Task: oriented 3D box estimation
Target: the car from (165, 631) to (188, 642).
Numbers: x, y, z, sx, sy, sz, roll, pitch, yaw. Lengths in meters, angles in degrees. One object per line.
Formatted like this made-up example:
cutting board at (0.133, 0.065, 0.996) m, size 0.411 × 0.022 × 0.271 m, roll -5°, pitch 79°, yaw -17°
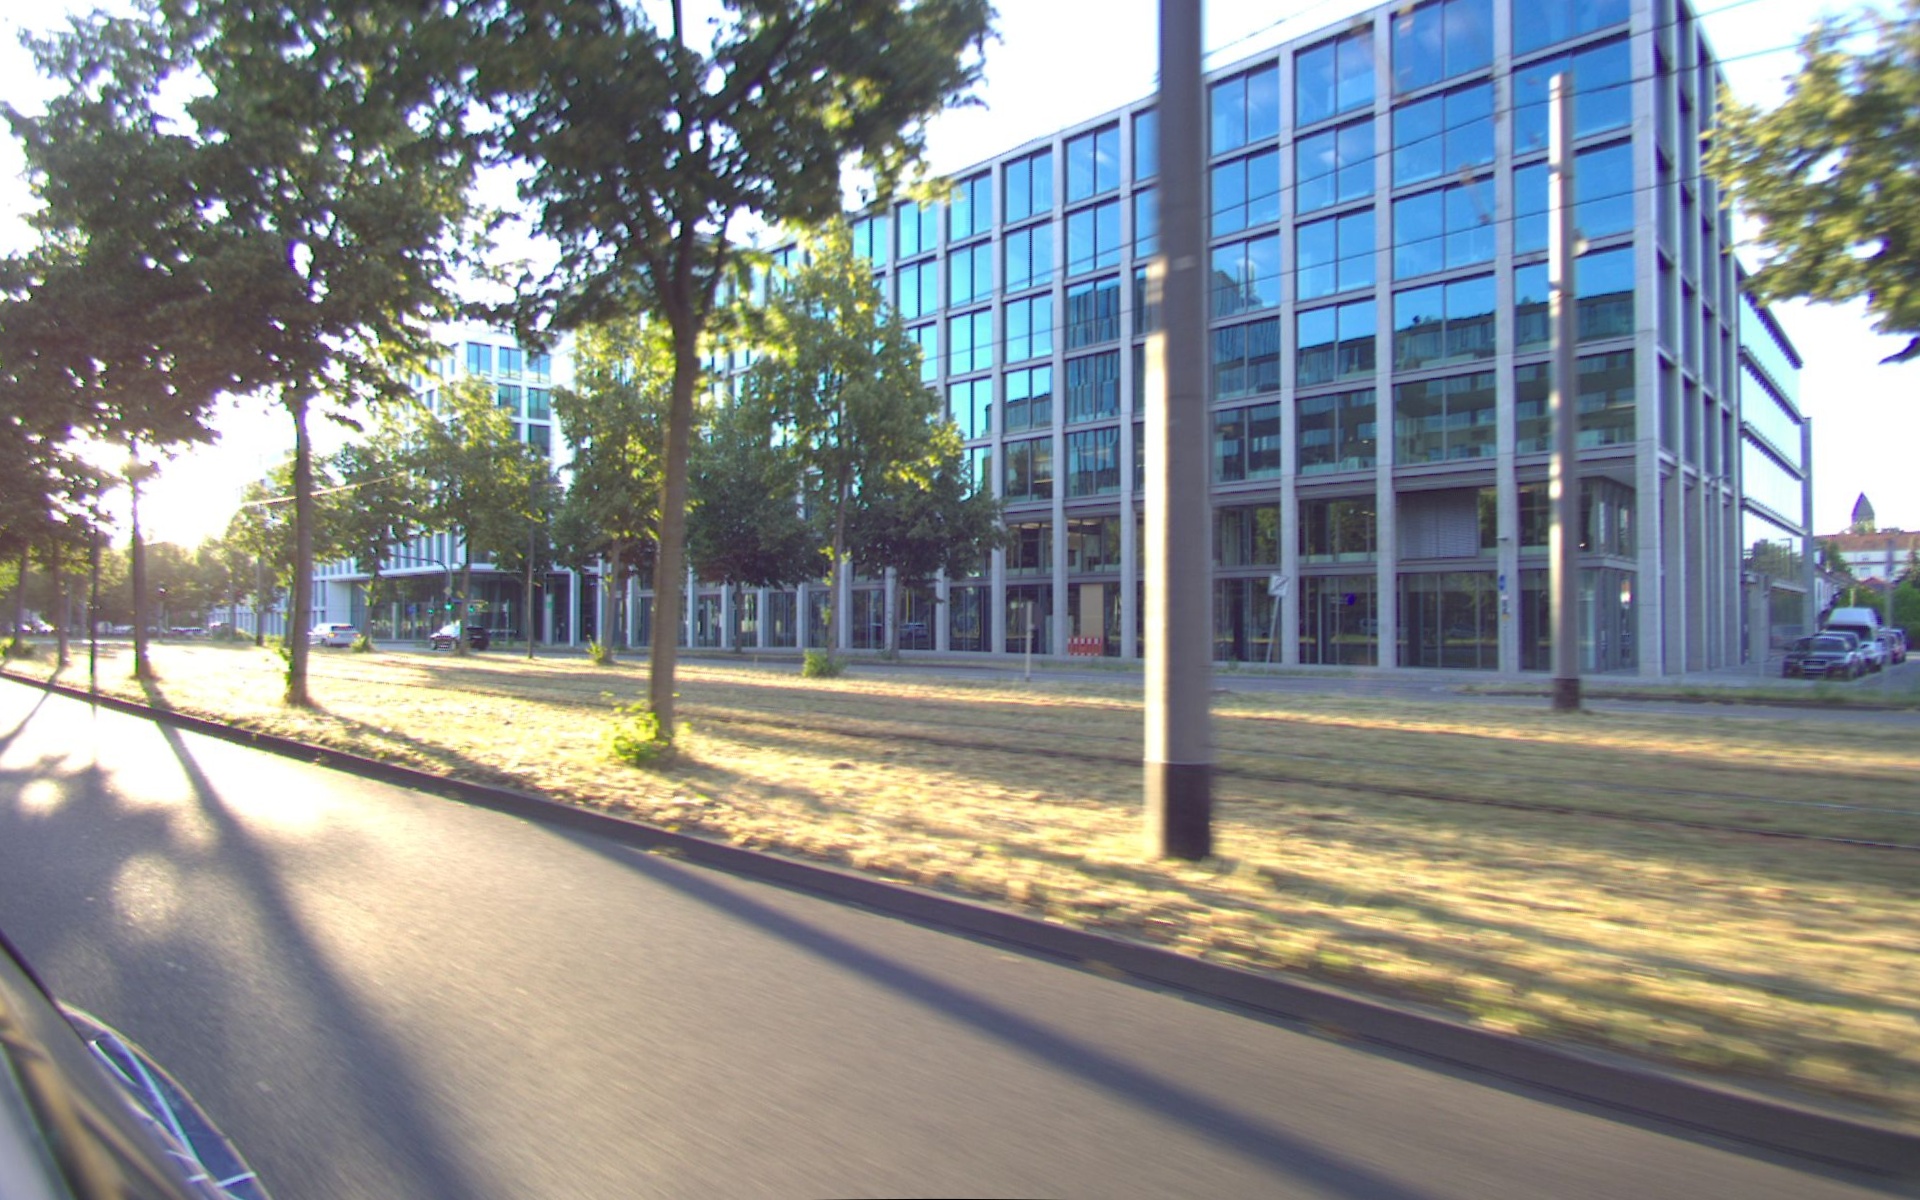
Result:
car at (-109.467, 5.121, 141.372) m, size 3.996 × 1.414 × 1.741 m, roll -2°, pitch -2°, yaw 39°

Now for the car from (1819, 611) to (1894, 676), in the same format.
car at (36.686, 1.726, 41.349) m, size 1.974 × 2.486 × 5.419 m, roll -1°, pitch -2°, yaw 45°

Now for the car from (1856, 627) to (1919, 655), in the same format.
car at (70.340, 3.054, 75.488) m, size 5.057 × 2.029 × 1.974 m, roll -1°, pitch -2°, yaw 38°

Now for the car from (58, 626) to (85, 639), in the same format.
car at (-106.353, 3.897, 121.132) m, size 3.994 × 1.460 × 1.625 m, roll -2°, pitch -2°, yaw 38°

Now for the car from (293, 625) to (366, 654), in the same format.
car at (-33.436, 2.060, 53.631) m, size 4.626 × 1.497 × 1.884 m, roll -1°, pitch -2°, yaw 39°

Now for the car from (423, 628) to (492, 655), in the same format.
car at (-28.197, 2.320, 56.772) m, size 4.386 × 1.433 × 1.911 m, roll -1°, pitch -2°, yaw 41°

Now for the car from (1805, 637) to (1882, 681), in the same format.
car at (32.486, 2.118, 37.183) m, size 1.895 × 1.457 × 3.942 m, roll -1°, pitch -2°, yaw 44°

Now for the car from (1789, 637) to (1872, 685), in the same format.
car at (29.073, 1.990, 33.775) m, size 1.894 × 1.457 × 3.942 m, roll -1°, pitch -2°, yaw 43°
